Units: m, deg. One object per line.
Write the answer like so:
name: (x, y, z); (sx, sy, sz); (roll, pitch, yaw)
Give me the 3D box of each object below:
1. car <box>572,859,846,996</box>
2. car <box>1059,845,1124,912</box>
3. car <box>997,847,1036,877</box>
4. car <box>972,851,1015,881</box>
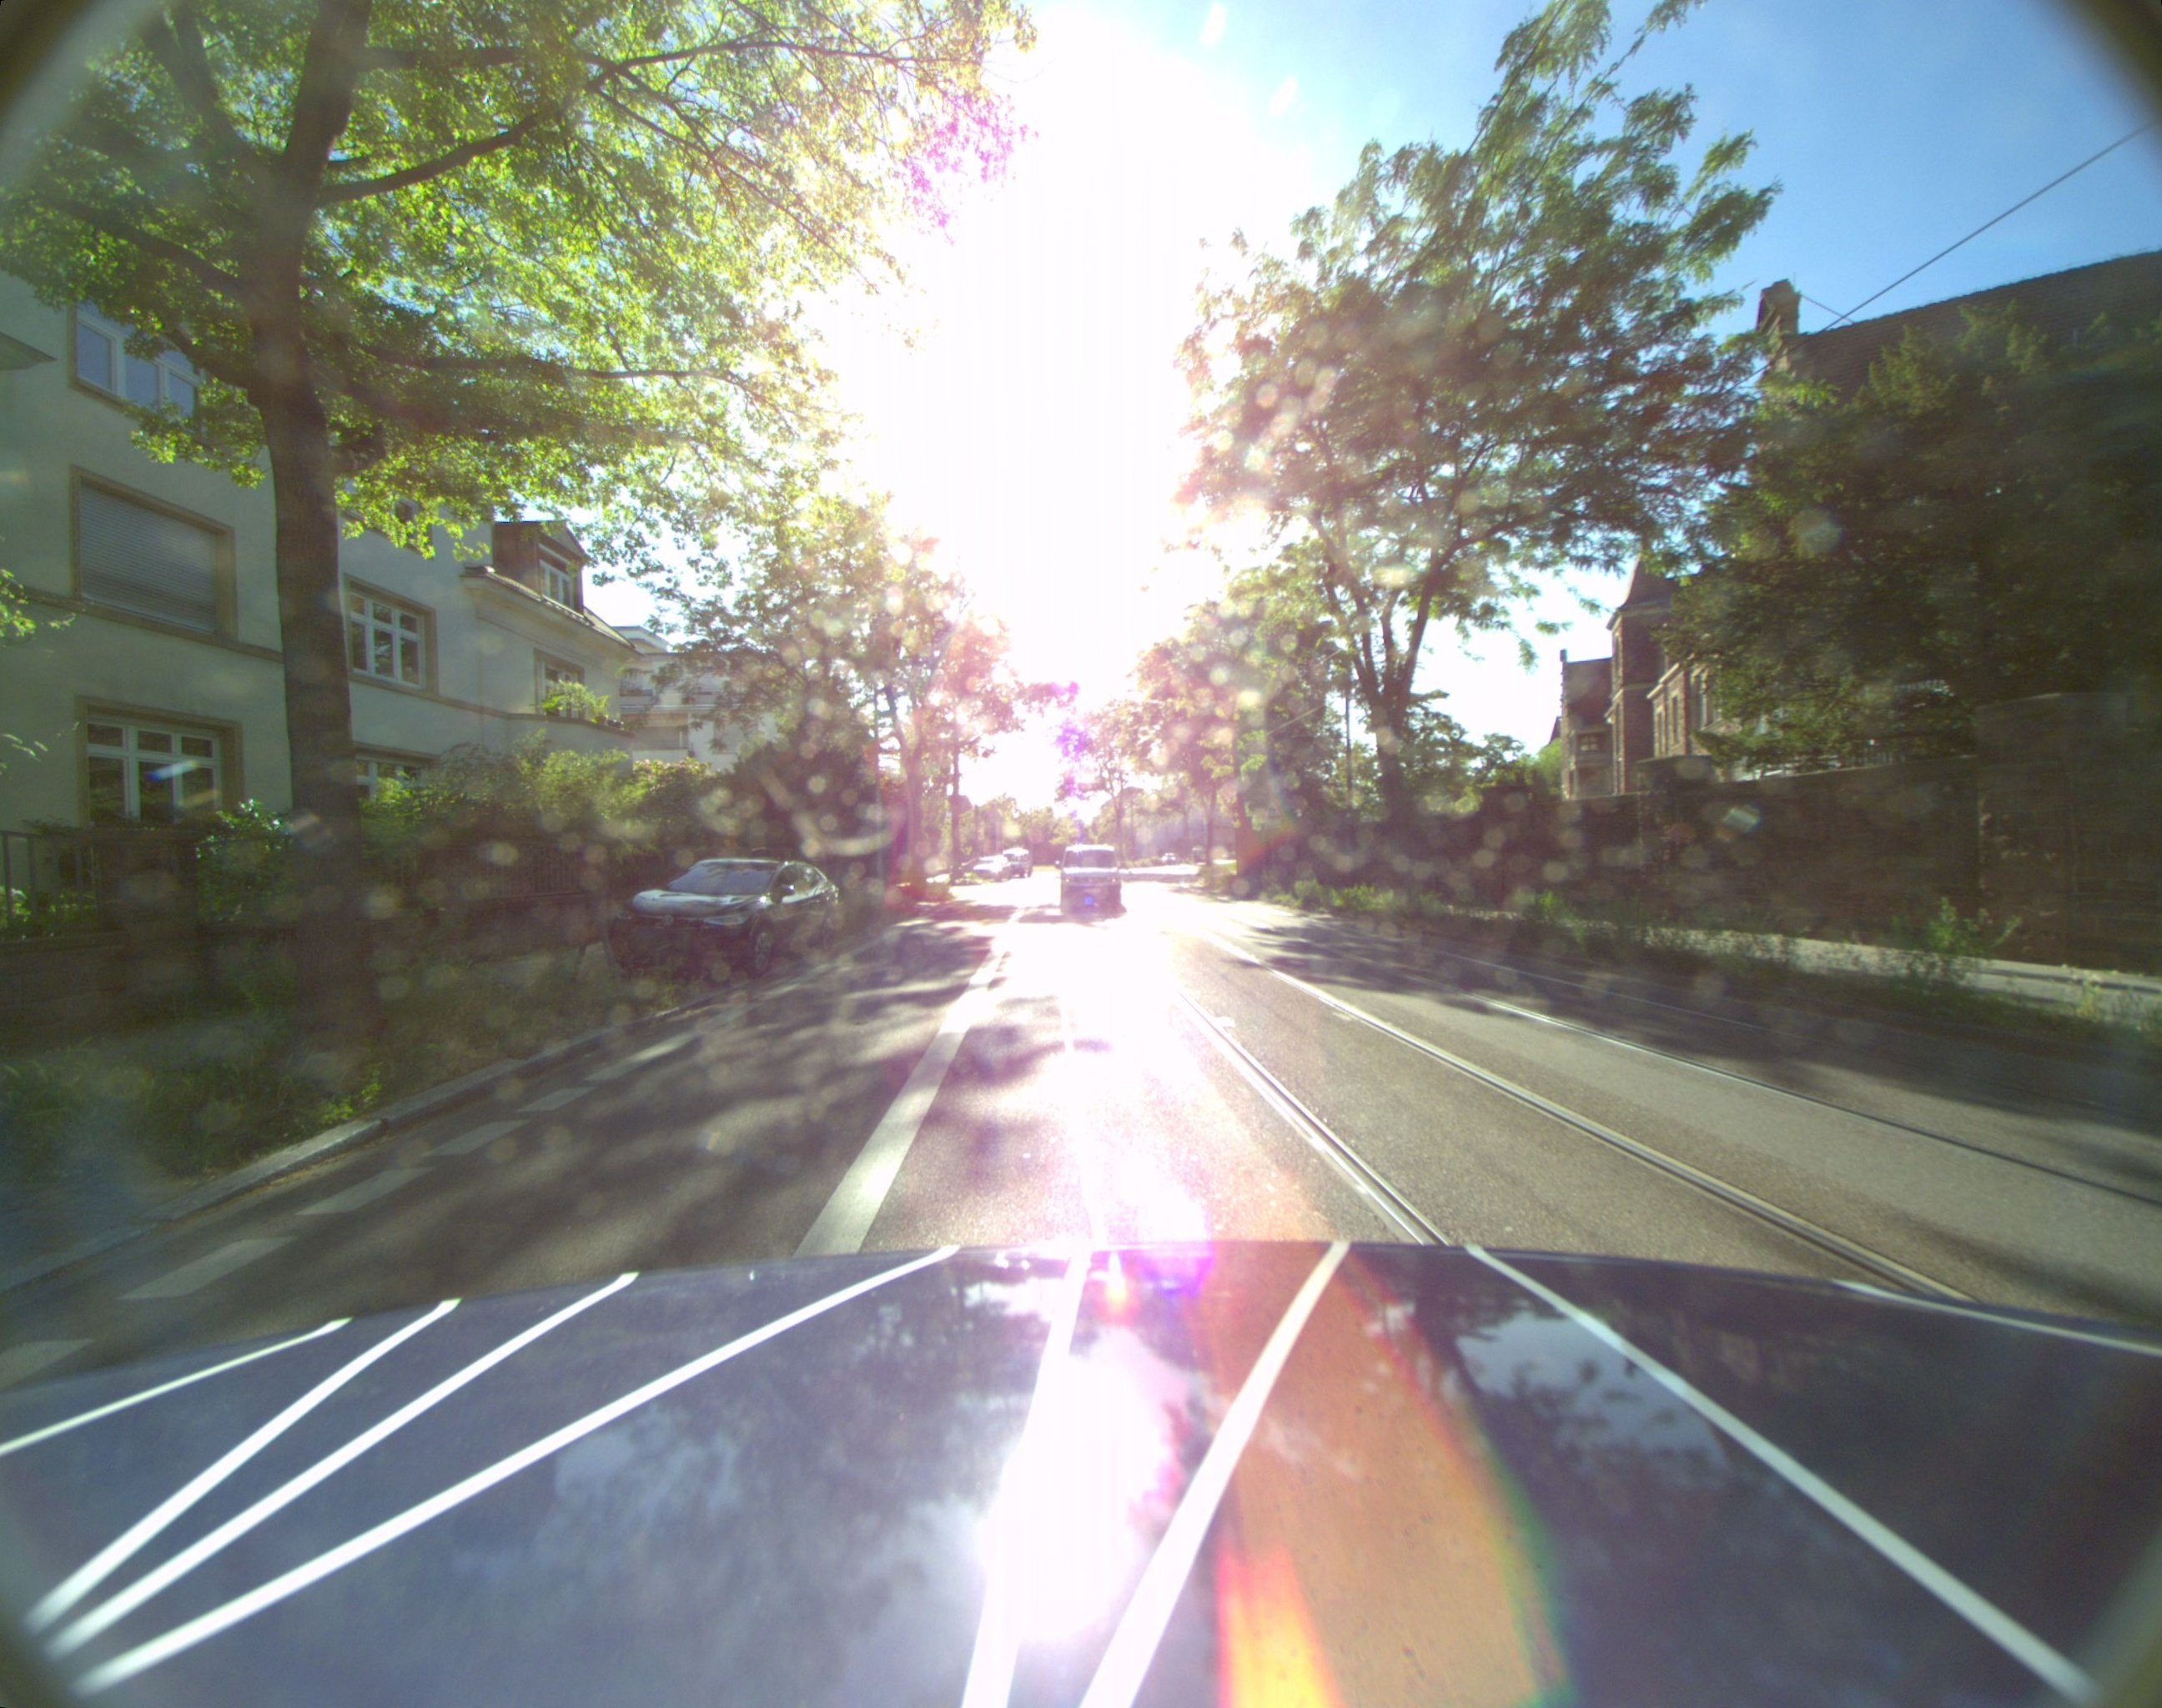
car: (-5.255, 0.936, 11.543); (1.999, 1.665, 4.380); (1, -1, 0)
car: (0.279, 0.674, 23.073); (1.768, 1.812, 3.999); (-1, 0, 0)
car: (-4.356, 0.507, 51.778); (2.129, 1.884, 4.746); (-2, 0, 1)
car: (-5.171, 0.668, 45.225); (1.823, 1.630, 4.001); (-2, 0, 4)
